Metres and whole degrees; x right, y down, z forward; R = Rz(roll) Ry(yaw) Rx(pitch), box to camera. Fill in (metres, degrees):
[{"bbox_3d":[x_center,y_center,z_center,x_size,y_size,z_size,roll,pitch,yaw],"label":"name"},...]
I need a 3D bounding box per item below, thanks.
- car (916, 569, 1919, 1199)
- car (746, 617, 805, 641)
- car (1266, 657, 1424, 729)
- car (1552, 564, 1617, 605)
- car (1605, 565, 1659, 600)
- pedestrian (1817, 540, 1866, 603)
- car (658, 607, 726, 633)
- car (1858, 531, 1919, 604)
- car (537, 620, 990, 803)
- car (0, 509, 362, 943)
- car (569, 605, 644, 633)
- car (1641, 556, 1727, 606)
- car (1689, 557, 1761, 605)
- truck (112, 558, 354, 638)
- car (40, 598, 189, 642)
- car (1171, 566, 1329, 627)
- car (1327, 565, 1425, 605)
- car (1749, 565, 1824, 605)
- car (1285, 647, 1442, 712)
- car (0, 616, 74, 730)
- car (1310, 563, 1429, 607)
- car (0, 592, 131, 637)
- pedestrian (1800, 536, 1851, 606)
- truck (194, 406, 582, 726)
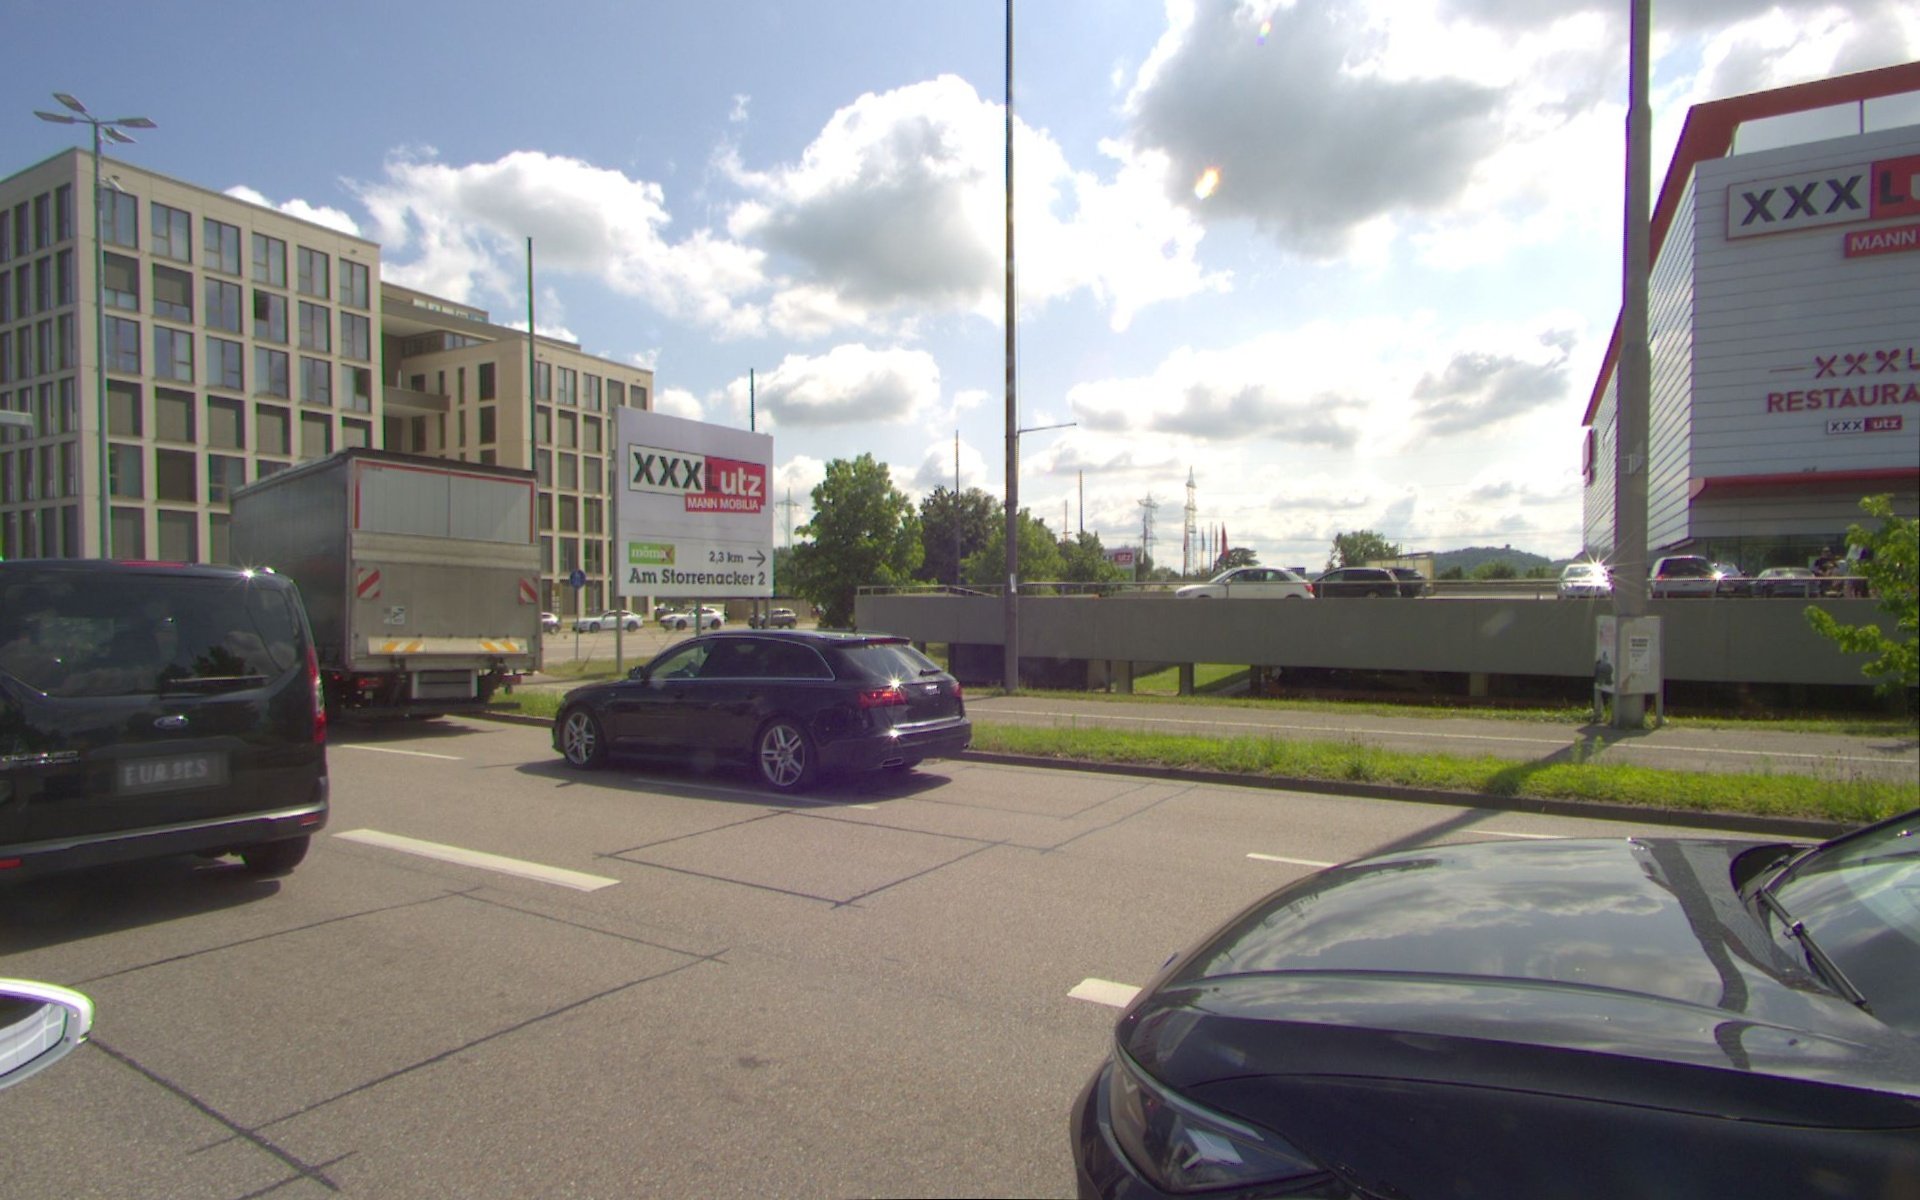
[{"bbox_3d":[2.571,0.721,0.968,5.129,1.497,1.805,-1,-1,32],"label":"car"},{"bbox_3d":[-14.660,2.341,79.793,1.809,1.861,4.408,-2,-2,43],"label":"car"},{"bbox_3d":[10.848,2.549,28.237,3.938,1.772,1.992,-1,-1,29],"label":"car"},{"bbox_3d":[25.342,-0.563,40.750,1.925,1.490,4.406,0,-1,28],"label":"car"},{"bbox_3d":[35.157,-0.861,52.503,1.925,1.626,4.406,0,-1,28],"label":"car"},{"bbox_3d":[25.627,-0.817,29.119,0.694,1.765,1.019,-1,-1,18],"label":"pedestrian"},{"bbox_3d":[-19.767,1.539,74.073,1.809,1.861,4.675,-2,-2,43],"label":"car"},{"bbox_3d":[26.262,-0.852,27.518,1.892,1.772,4.163,-1,-2,36],"label":"car"},{"bbox_3d":[-2.113,0.954,10.187,4.613,1.497,1.770,-1,-1,33],"label":"car"},{"bbox_3d":[-5.568,0.594,6.079,3.944,1.929,1.819,-1,-1,34],"label":"car"},{"bbox_3d":[-24.253,1.325,68.816,1.806,1.861,4.692,-1,-2,38],"label":"car"},{"bbox_3d":[26.136,-0.627,36.291,1.925,1.626,4.406,0,-1,28],"label":"car"},{"bbox_3d":[31.991,-0.729,41.980,1.888,1.772,3.982,-1,-2,31],"label":"car"},{"bbox_3d":[-35.819,0.077,49.984,2.632,3.600,9.755,-1,-2,25],"label":"truck"},{"bbox_3d":[-33.572,0.835,39.903,1.798,1.647,4.200,-1,-2,25],"label":"car"},{"bbox_3d":[8.132,-0.064,28.450,4.084,1.606,1.882,0,-2,8],"label":"car"},{"bbox_3d":[20.452,-0.708,49.261,4.352,1.808,1.948,-1,-1,26],"label":"car"},{"bbox_3d":[33.941,-0.561,41.224,1.536,1.490,4.406,0,-1,28],"label":"car"},{"bbox_3d":[12.378,2.369,30.717,4.296,1.772,1.992,-1,-1,29],"label":"car"},{"bbox_3d":[-15.849,1.212,15.907,4.167,1.675,1.853,-5,-4,37],"label":"car"},{"bbox_3d":[16.596,-0.575,40.561,4.352,1.626,1.948,-1,-1,26],"label":"car"},{"bbox_3d":[-39.364,0.670,43.394,1.967,1.861,4.978,-1,-2,25],"label":"car"},{"bbox_3d":[25.962,-0.851,30.038,0.694,2.039,0.910,0,-1,-13],"label":"pedestrian"},{"bbox_3d":[-10.070,-0.277,17.006,8.973,4.078,3.196,-2,-2,43],"label":"truck"}]
